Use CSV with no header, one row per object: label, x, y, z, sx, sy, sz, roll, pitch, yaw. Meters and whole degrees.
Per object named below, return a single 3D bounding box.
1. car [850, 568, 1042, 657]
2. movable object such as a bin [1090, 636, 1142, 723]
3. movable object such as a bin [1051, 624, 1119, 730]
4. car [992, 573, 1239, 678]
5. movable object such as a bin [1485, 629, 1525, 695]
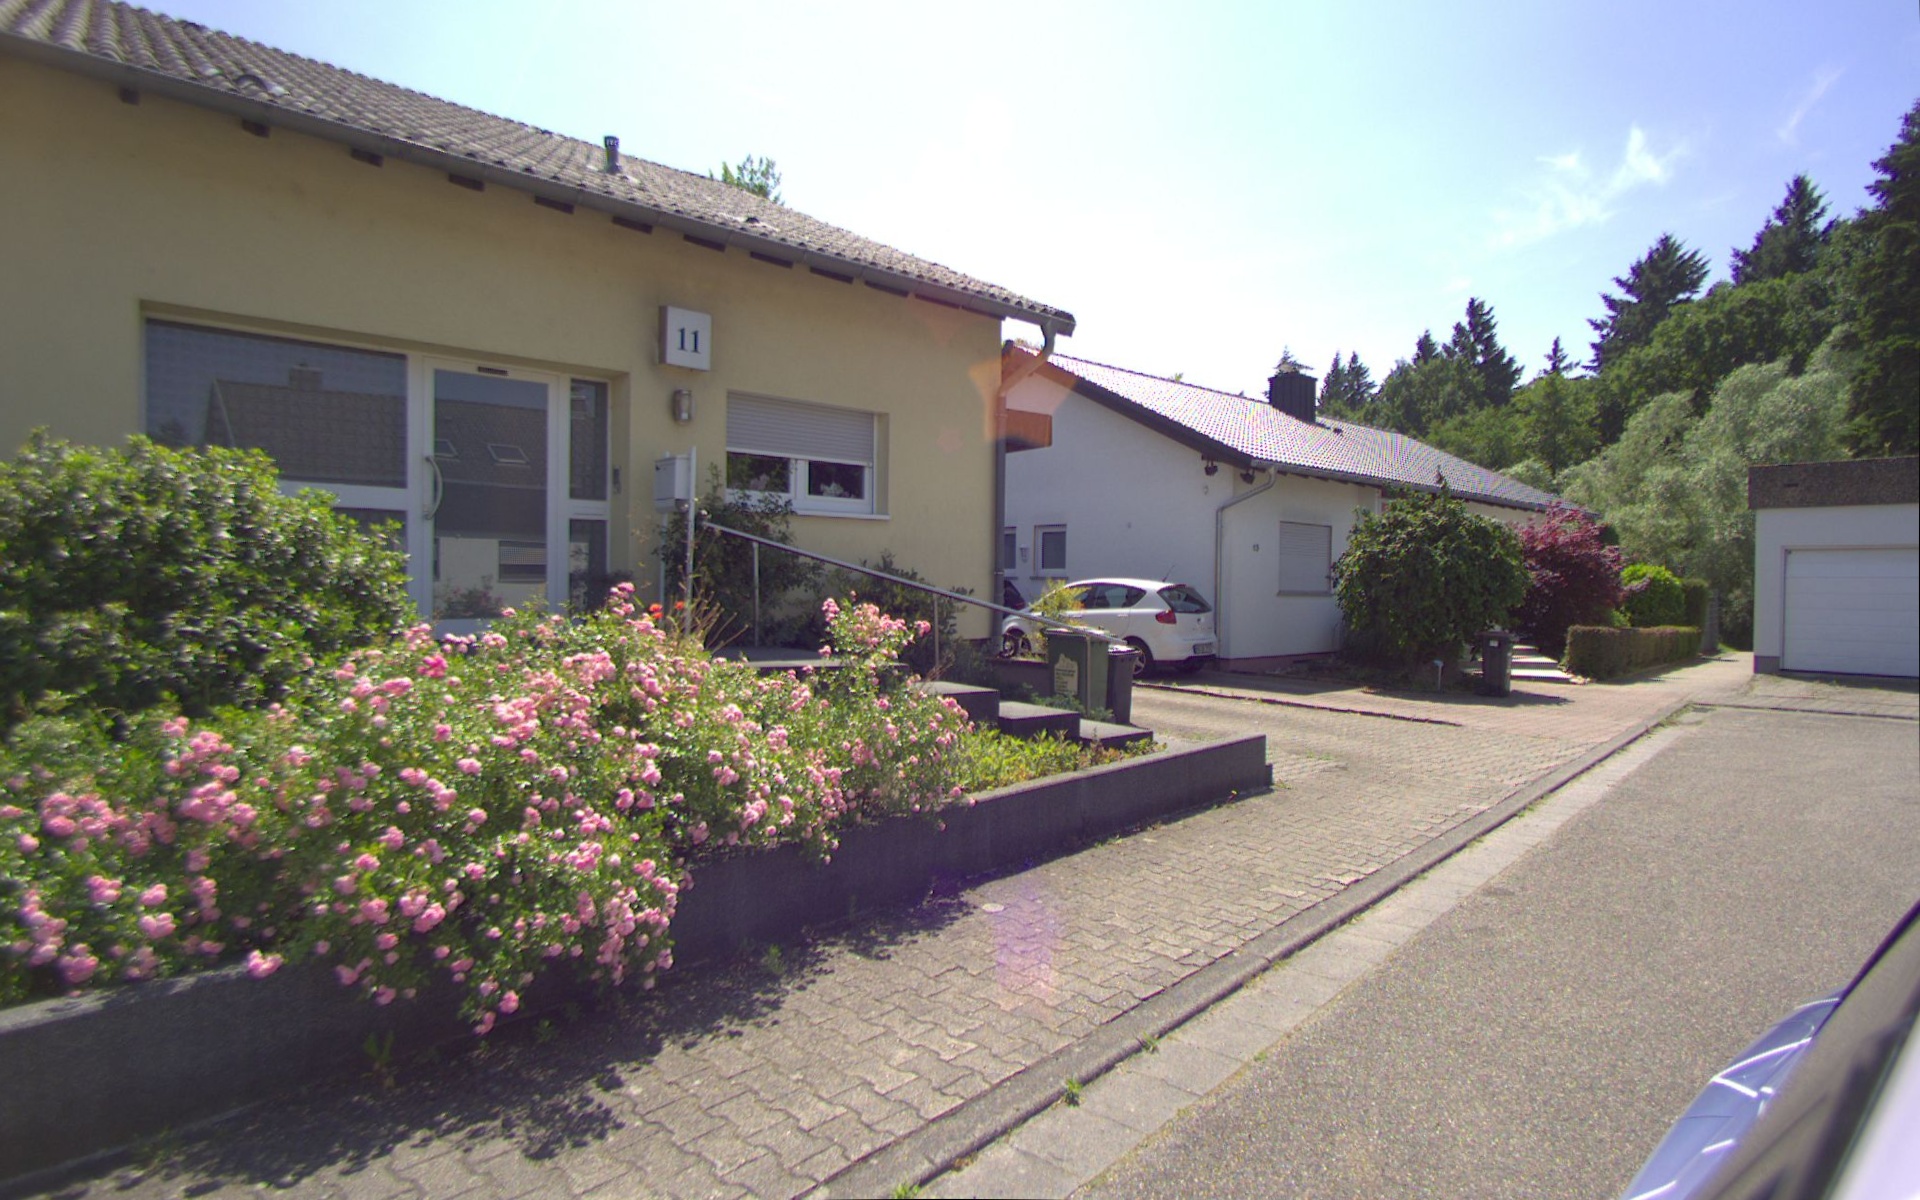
car,-0.381,0.177,21.075,1.895,1.627,3.995,-1,2,-40
movable object such as a bin,1.722,0.867,11.189,0.425,0.902,0.401,1,1,42
movable object such as a bin,1.340,0.806,10.849,0.490,1.054,0.584,1,1,42
car,2.573,0.342,17.454,1.723,1.588,3.991,0,1,-44
movable object such as a bin,7.818,0.876,14.517,0.369,0.902,0.390,-1,1,-42
